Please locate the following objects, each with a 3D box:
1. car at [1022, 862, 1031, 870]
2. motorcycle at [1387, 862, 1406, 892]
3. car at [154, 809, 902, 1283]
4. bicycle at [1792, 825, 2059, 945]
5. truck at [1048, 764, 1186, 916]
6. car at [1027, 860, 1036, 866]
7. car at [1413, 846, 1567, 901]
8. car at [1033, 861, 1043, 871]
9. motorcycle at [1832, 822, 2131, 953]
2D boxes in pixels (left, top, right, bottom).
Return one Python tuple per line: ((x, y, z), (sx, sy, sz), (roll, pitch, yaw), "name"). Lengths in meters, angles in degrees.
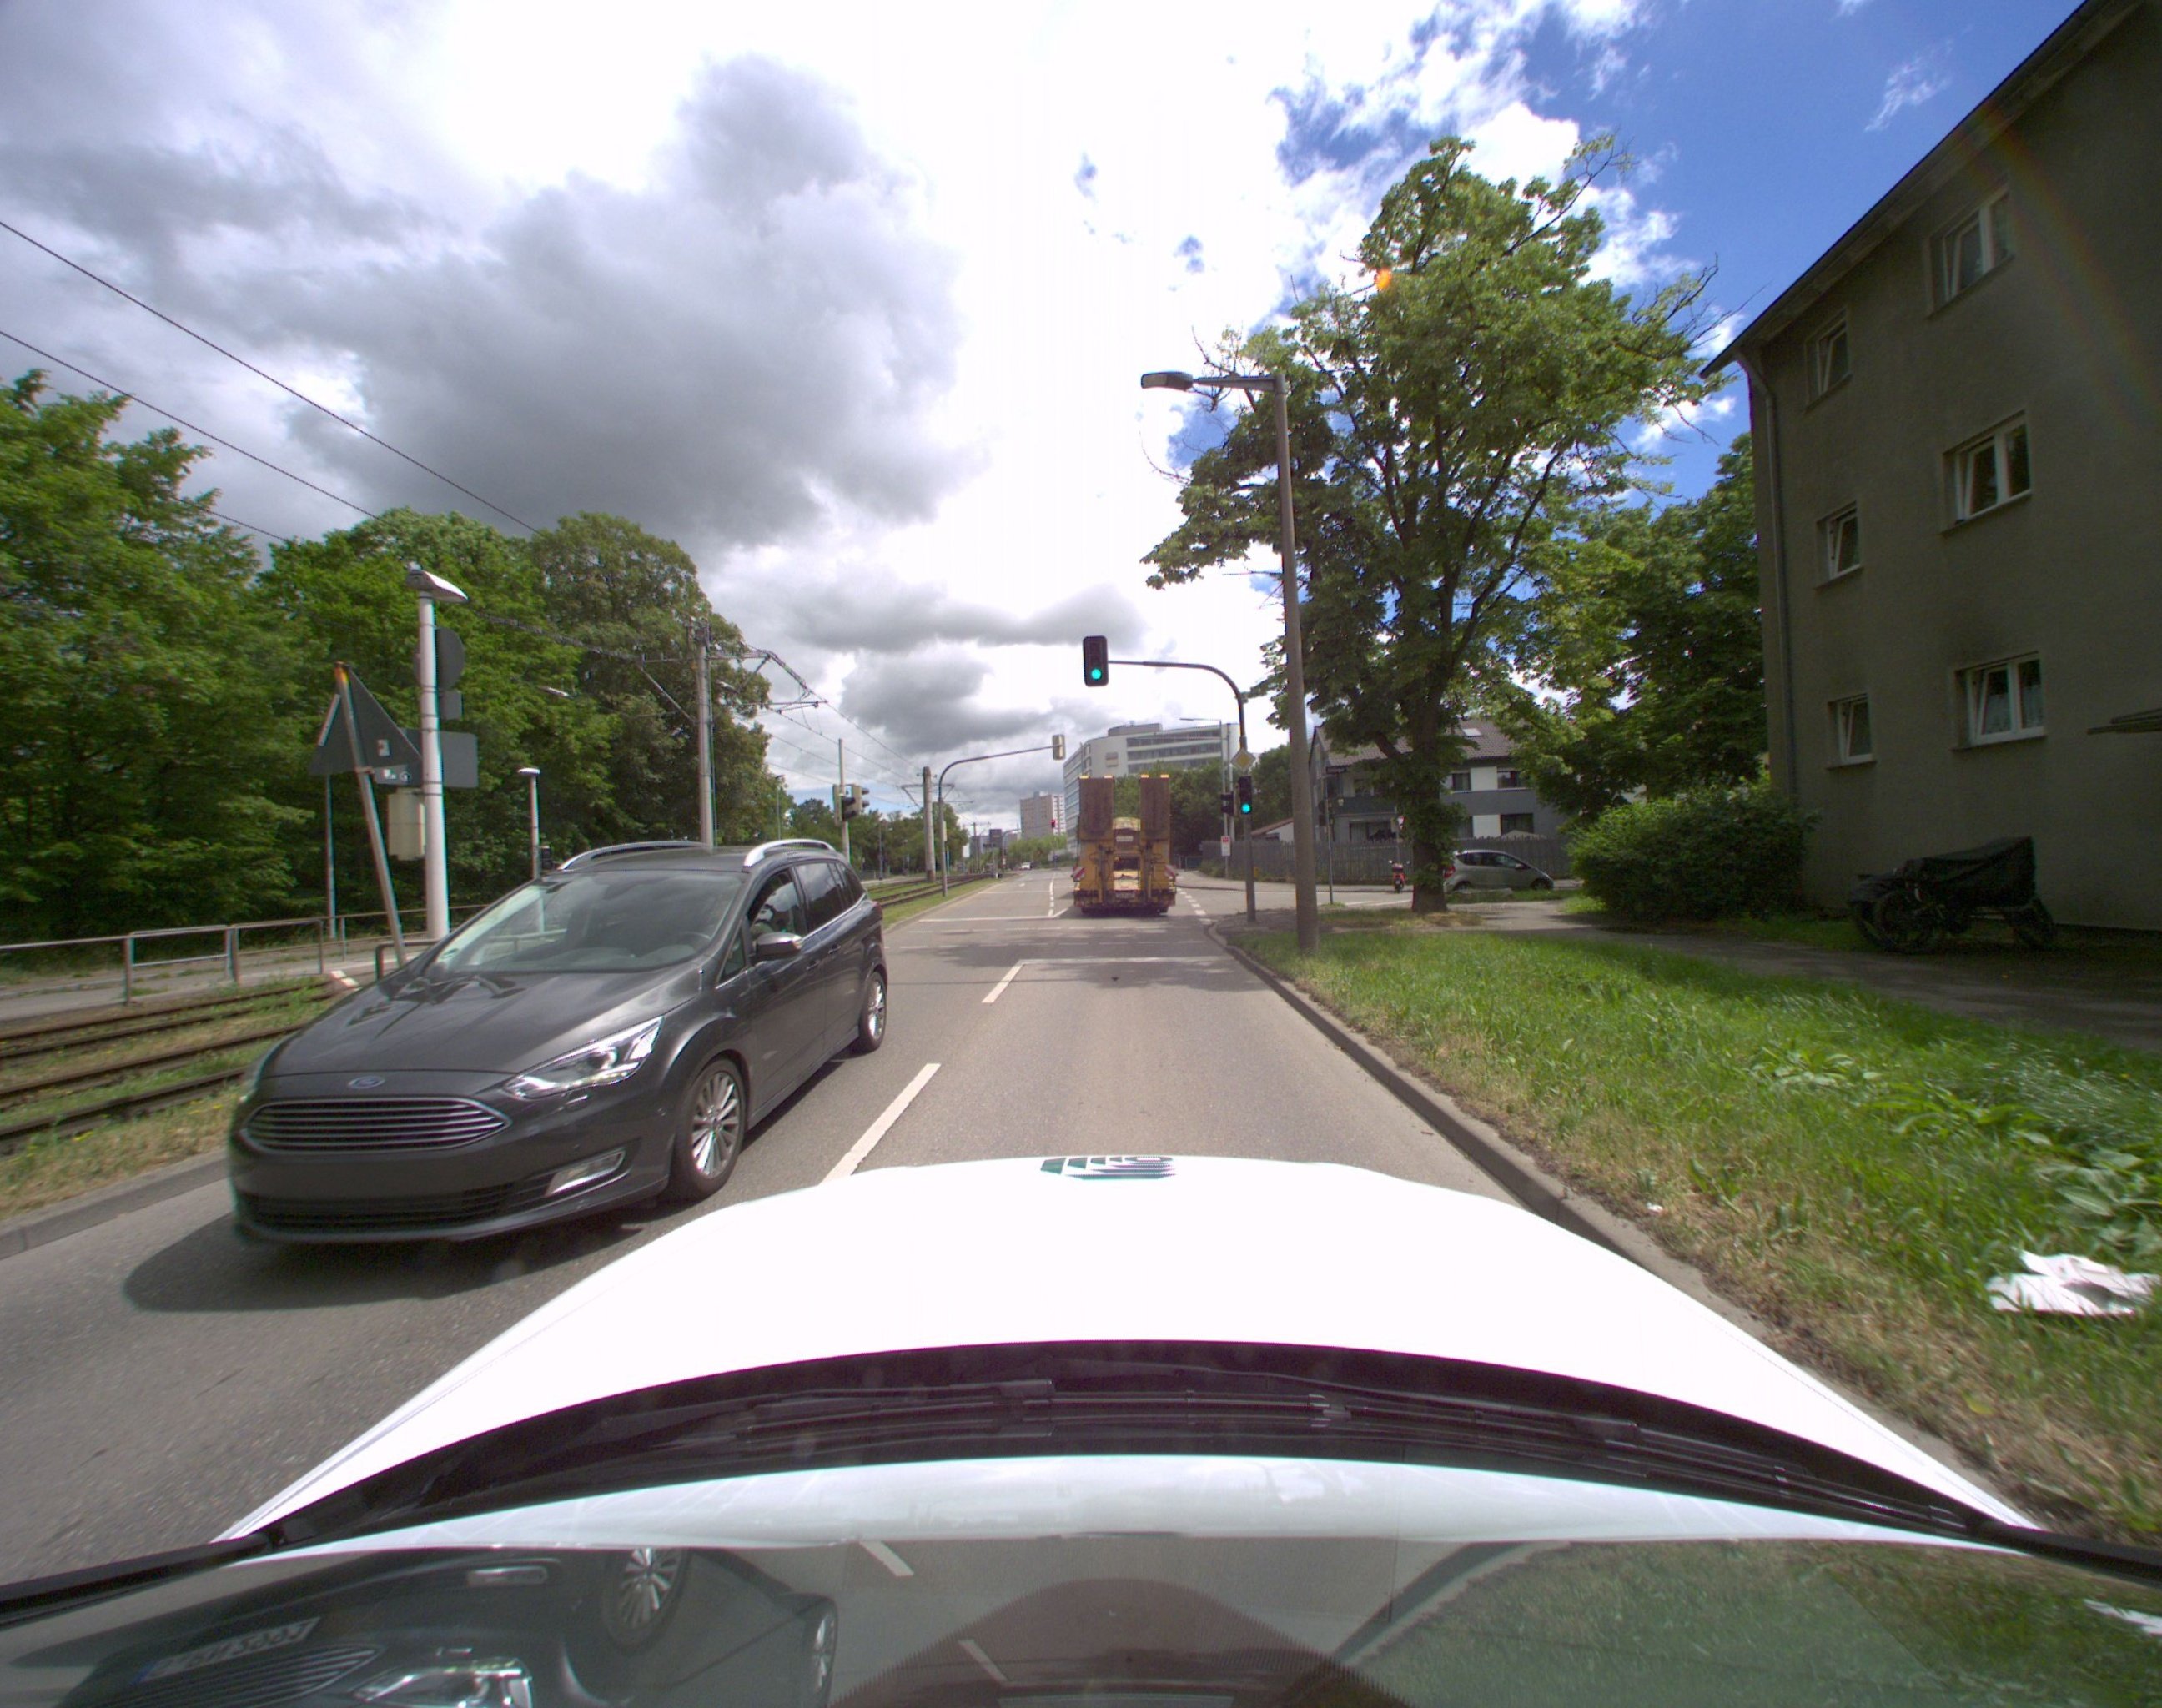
((-11.043, 2.507, 165.903), (1.589, 1.527, 3.651), (-3, -1, -3), "car")
((12.374, 0.886, 31.974), (0.653, 1.149, 2.437), (-1, -1, 20), "motorcycle")
((-2.461, 0.701, 5.053), (1.701, 1.676, 4.228), (-1, 0, 1), "car")
((9.896, 0.371, 9.624), (2.153, 1.282, 0.682), (-3, -1, 10), "bicycle")
((0.968, -0.257, 26.241), (3.305, 3.651, 12.561), (-1, -1, 1), "truck")
((-11.491, 2.082, 189.075), (1.990, 1.420, 3.993), (-1, -1, -5), "car")
((13.059, 0.597, 26.151), (3.982, 1.554, 1.935), (-2, 0, -6), "car")
((-8.724, 2.498, 166.151), (1.990, 1.926, 3.993), (-1, -1, -5), "car")
((9.763, 0.370, 8.920), (2.191, 1.282, 0.682), (-3, -1, 10), "motorcycle")
